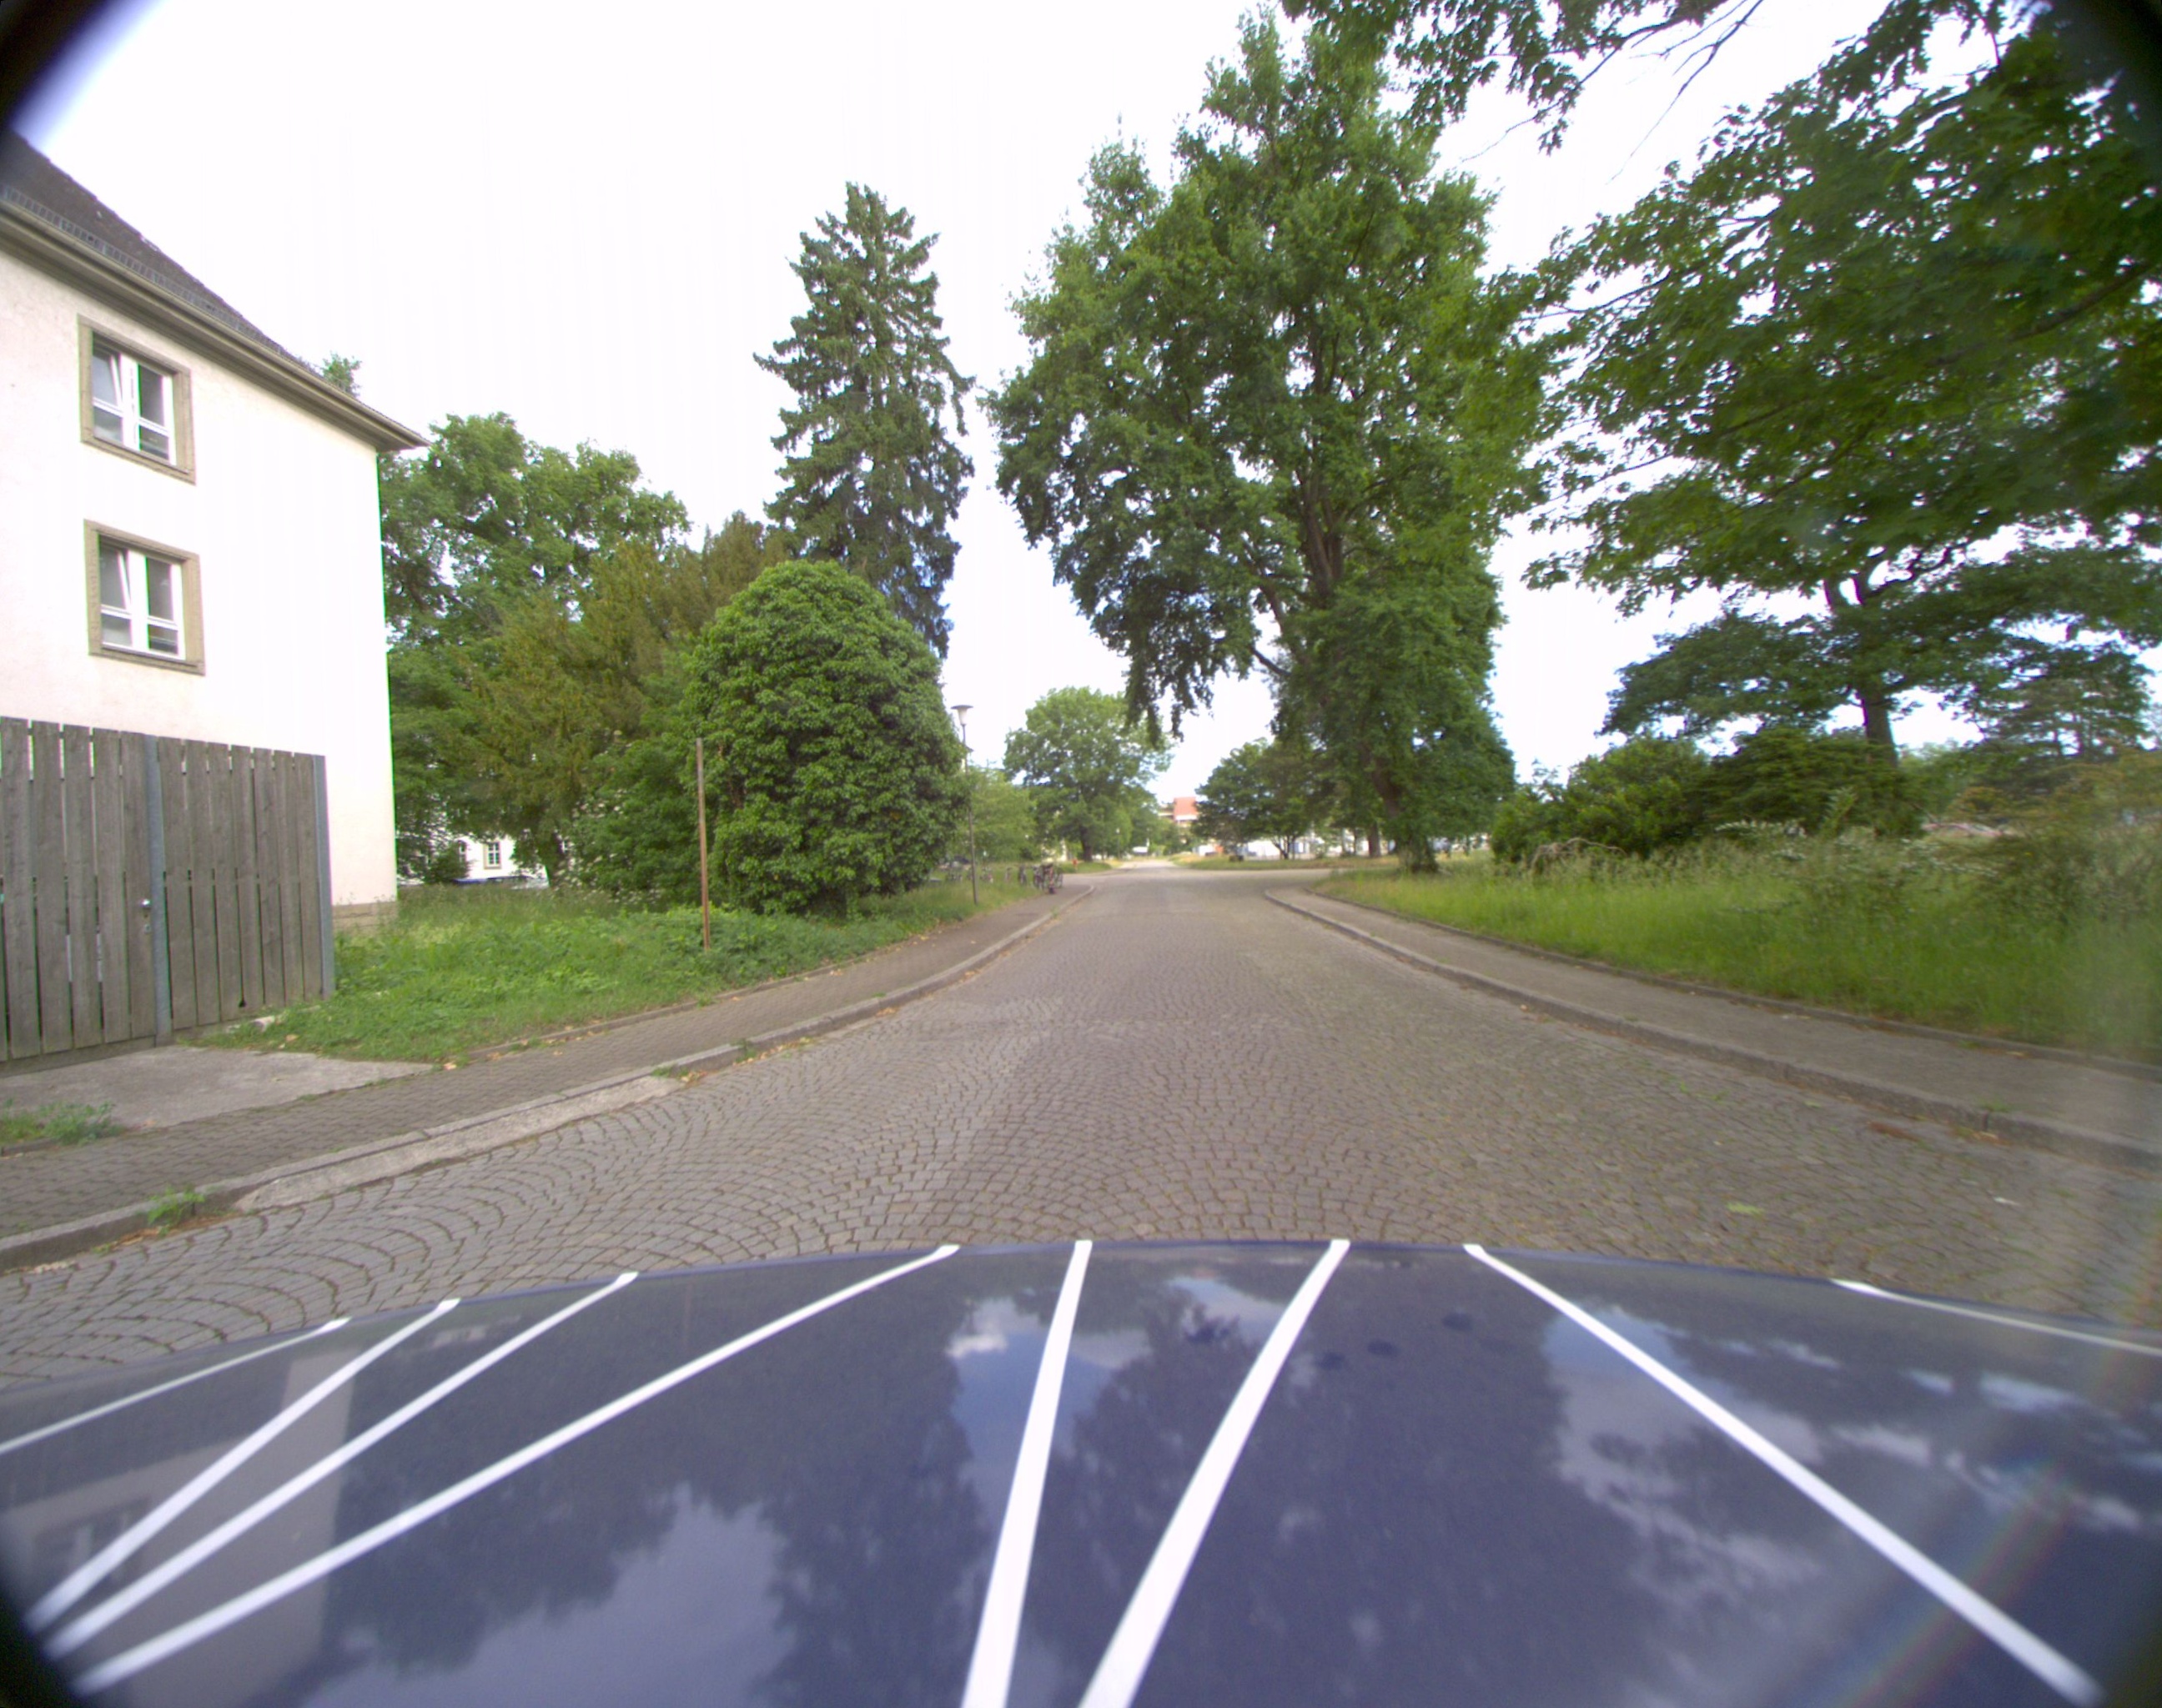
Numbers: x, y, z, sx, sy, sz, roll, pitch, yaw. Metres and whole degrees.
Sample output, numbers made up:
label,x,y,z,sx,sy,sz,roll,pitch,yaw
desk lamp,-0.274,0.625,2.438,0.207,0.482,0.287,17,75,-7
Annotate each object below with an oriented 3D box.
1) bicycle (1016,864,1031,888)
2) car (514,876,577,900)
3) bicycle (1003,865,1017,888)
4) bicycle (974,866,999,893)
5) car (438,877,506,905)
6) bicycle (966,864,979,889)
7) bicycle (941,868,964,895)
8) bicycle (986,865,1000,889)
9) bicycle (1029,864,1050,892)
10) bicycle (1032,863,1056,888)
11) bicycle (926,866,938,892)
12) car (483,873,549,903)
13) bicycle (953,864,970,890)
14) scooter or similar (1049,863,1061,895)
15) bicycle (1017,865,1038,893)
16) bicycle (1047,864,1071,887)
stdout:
label,x,y,z,sx,sy,sz,roll,pitch,yaw
bicycle,-2.669,0.998,35.193,0.478,1.002,1.665,-3,2,-11
car,-32.708,2.051,46.520,1.295,1.210,3.250,-2,0,5
bicycle,-3.288,1.027,35.140,0.478,1.002,1.665,-3,2,-11
bicycle,-3.909,1.046,31.352,0.619,1.059,1.823,-3,0,-20
car,-38.131,2.298,47.660,1.383,1.556,3.250,-2,0,5
bicycle,-4.964,1.019,34.734,0.478,1.105,1.763,-3,0,-11
bicycle,-5.243,1.106,30.989,0.552,1.059,1.751,-3,0,-20
bicycle,-4.064,1.064,35.127,0.478,1.002,1.665,-3,2,-11
bicycle,-1.757,0.997,31.753,0.551,1.108,1.768,-3,0,-12
bicycle,-1.751,0.999,35.633,0.478,1.068,1.619,-4,2,-25
bicycle,-6.766,1.102,34.514,0.478,1.105,1.763,-3,0,-11
car,-34.935,2.091,47.066,1.438,1.651,3.250,-2,0,5
bicycle,-5.492,1.045,34.825,0.478,1.105,1.763,-3,0,-16
scooter or similar,-1.038,0.984,30.448,0.357,1.202,1.137,-2,1,1
bicycle,-2.226,1.018,31.590,0.551,1.108,1.803,-3,0,-12
bicycle,-1.048,0.988,35.542,0.478,1.002,1.619,-4,2,-25
